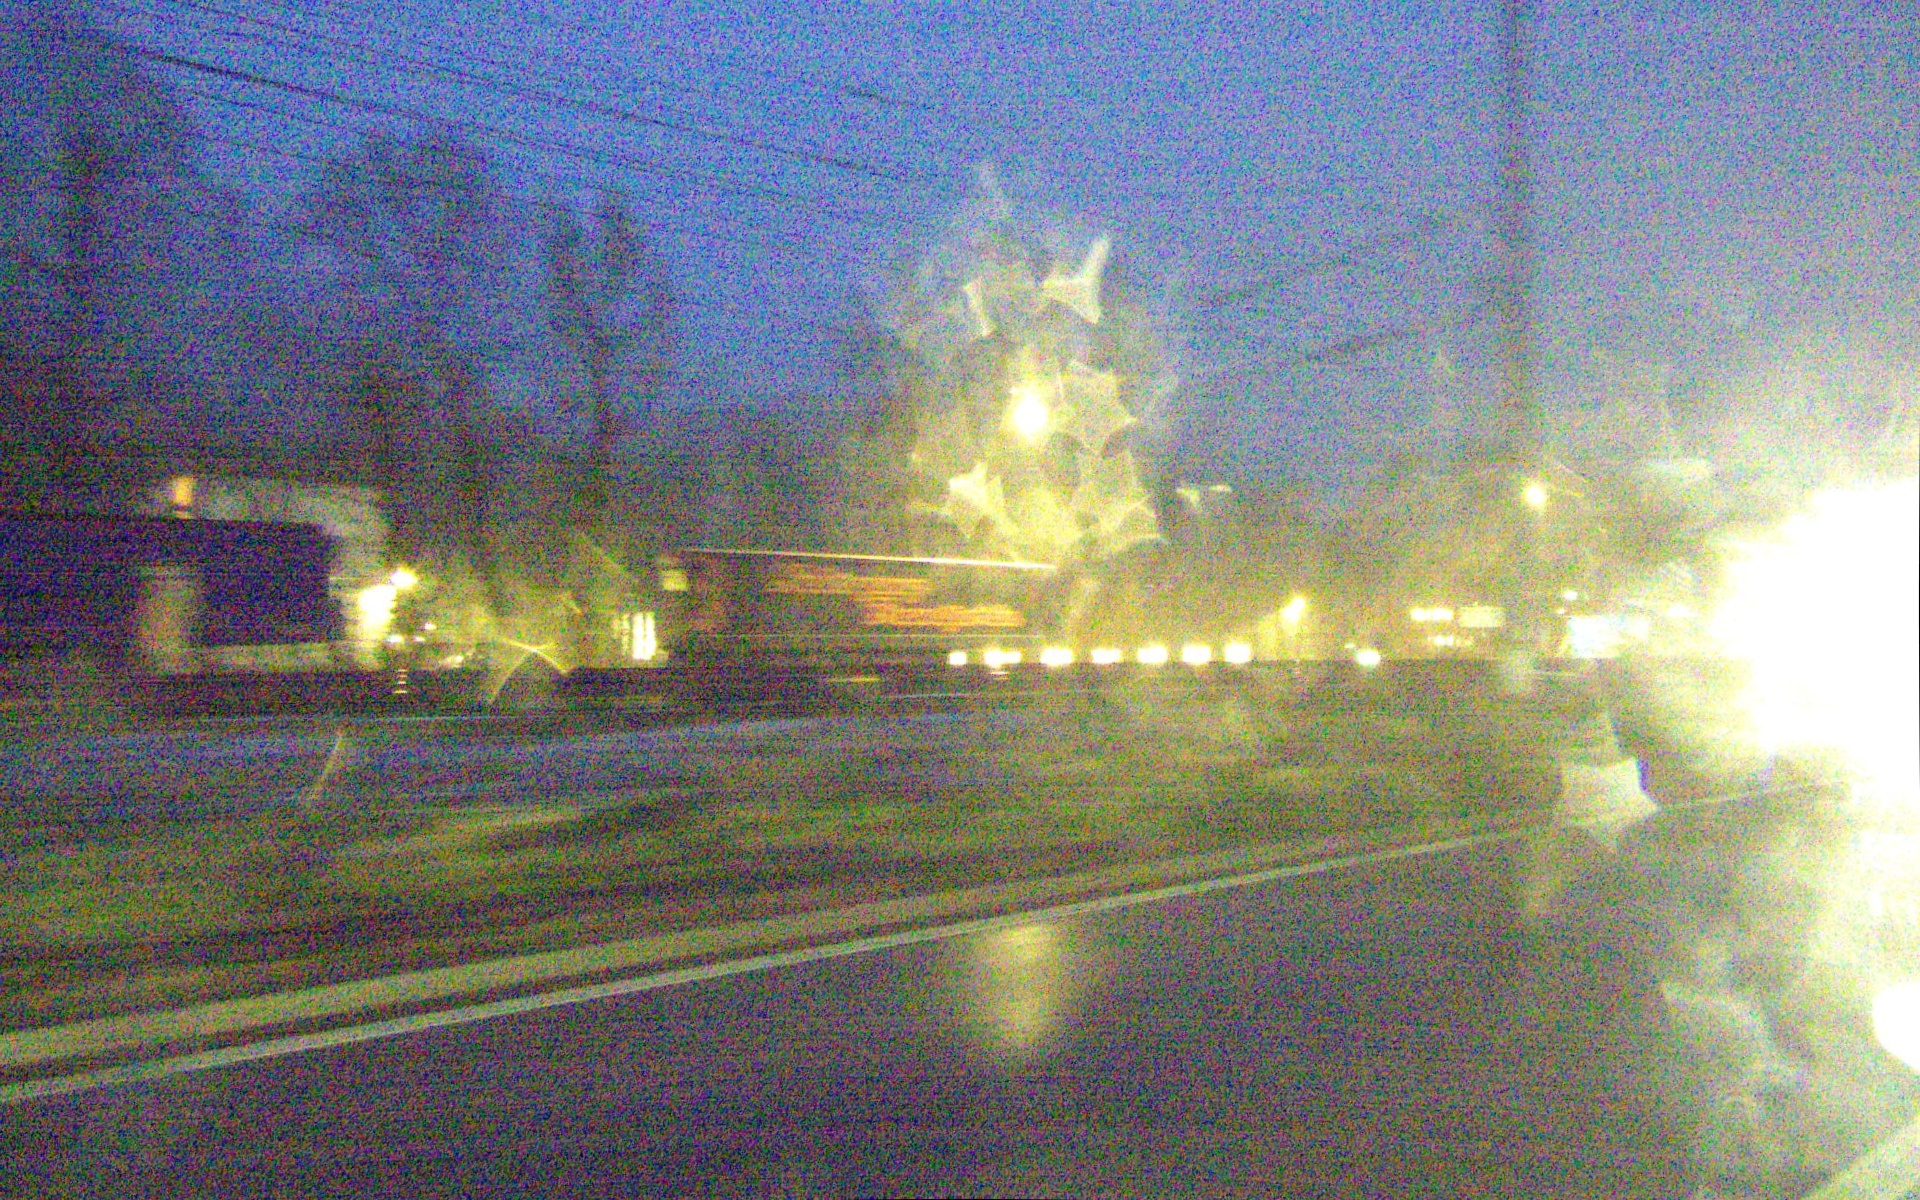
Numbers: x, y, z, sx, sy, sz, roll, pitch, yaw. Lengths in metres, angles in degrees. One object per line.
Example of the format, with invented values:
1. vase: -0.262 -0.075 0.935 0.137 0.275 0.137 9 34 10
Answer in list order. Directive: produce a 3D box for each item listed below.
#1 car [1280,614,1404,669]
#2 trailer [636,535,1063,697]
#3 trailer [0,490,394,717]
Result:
1. car: 12.860 1.360 33.761 4.173 1.716 1.776 1 0 -33
2. trailer: -3.355 0.645 34.379 14.089 4.671 3.949 2 1 -32
3. trailer: -21.309 0.003 21.992 15.342 4.671 3.949 2 1 -32
